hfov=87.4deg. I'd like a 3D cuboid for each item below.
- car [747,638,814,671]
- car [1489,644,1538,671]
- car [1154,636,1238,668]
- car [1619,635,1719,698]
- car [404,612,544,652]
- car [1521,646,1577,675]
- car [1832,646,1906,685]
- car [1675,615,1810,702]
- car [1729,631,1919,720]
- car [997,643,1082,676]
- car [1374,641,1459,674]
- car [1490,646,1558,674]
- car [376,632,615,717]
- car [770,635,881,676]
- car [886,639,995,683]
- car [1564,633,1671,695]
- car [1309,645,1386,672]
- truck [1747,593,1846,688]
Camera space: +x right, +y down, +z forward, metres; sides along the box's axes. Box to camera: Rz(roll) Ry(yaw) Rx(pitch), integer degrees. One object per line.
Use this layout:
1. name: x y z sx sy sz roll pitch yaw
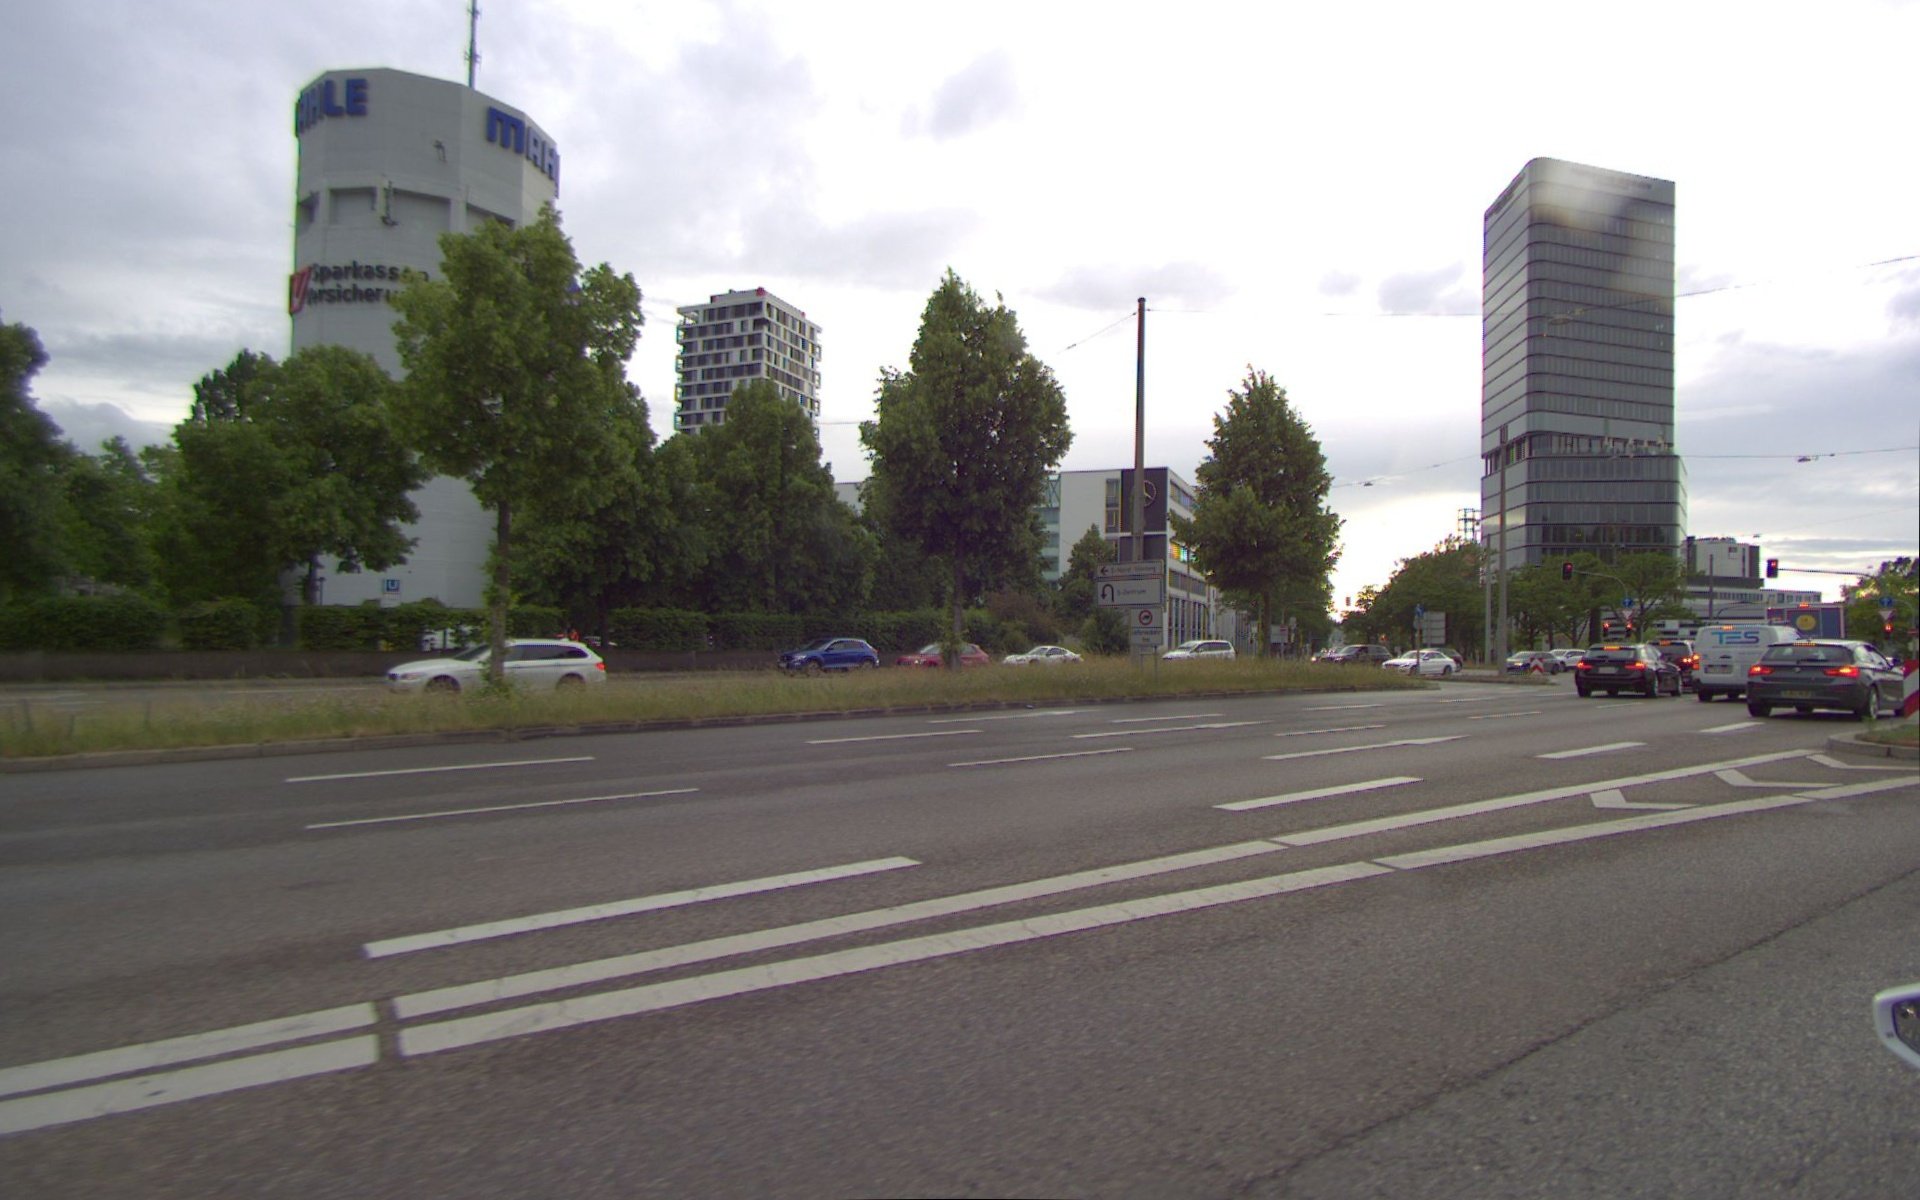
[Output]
1. car: -11.879 3.592 66.517 3.964 2.040 1.978 0 -1 -38
2. car: 41.581 4.299 75.430 3.492 1.840 1.590 0 -1 -29
3. car: 13.520 2.963 57.498 4.693 1.693 1.982 2 -1 -33
4. car: 22.774 2.066 32.229 4.044 1.704 1.820 1 2 -44
5. car: -28.300 1.870 58.678 6.950 2.159 2.360 3 -1 -43
6. car: 40.628 4.140 69.276 3.711 1.862 1.756 1 -1 -29
7. car: 42.398 3.056 46.946 1.893 1.665 4.380 0 -3 34
8. car: 20.119 1.486 25.750 5.055 1.998 1.887 3 -4 -42
9. car: 16.257 1.334 18.836 3.936 1.481 1.857 1 -1 -35
10. car: 3.755 2.751 47.118 3.947 1.410 1.648 2 -2 -39
11. car: 25.223 3.180 55.505 4.546 1.680 1.886 2 -1 -27
12. car: 35.866 3.828 63.846 3.858 1.679 1.824 2 -1 -23
13. car: -11.030 1.685 24.122 1.973 1.794 4.842 1 -1 44
14. car: -5.209 2.127 39.140 3.951 1.461 1.860 2 -2 -42
15. car: -0.717 2.292 38.360 3.974 1.552 1.890 2 -2 -44
16. car: 18.263 1.763 27.833 1.883 1.584 3.979 -2 -4 42
17. car: 22.875 3.444 59.202 4.528 1.503 1.920 2 -1 -32
18. truck: 31.545 1.490 38.076 2.633 3.262 6.522 1 -1 38
